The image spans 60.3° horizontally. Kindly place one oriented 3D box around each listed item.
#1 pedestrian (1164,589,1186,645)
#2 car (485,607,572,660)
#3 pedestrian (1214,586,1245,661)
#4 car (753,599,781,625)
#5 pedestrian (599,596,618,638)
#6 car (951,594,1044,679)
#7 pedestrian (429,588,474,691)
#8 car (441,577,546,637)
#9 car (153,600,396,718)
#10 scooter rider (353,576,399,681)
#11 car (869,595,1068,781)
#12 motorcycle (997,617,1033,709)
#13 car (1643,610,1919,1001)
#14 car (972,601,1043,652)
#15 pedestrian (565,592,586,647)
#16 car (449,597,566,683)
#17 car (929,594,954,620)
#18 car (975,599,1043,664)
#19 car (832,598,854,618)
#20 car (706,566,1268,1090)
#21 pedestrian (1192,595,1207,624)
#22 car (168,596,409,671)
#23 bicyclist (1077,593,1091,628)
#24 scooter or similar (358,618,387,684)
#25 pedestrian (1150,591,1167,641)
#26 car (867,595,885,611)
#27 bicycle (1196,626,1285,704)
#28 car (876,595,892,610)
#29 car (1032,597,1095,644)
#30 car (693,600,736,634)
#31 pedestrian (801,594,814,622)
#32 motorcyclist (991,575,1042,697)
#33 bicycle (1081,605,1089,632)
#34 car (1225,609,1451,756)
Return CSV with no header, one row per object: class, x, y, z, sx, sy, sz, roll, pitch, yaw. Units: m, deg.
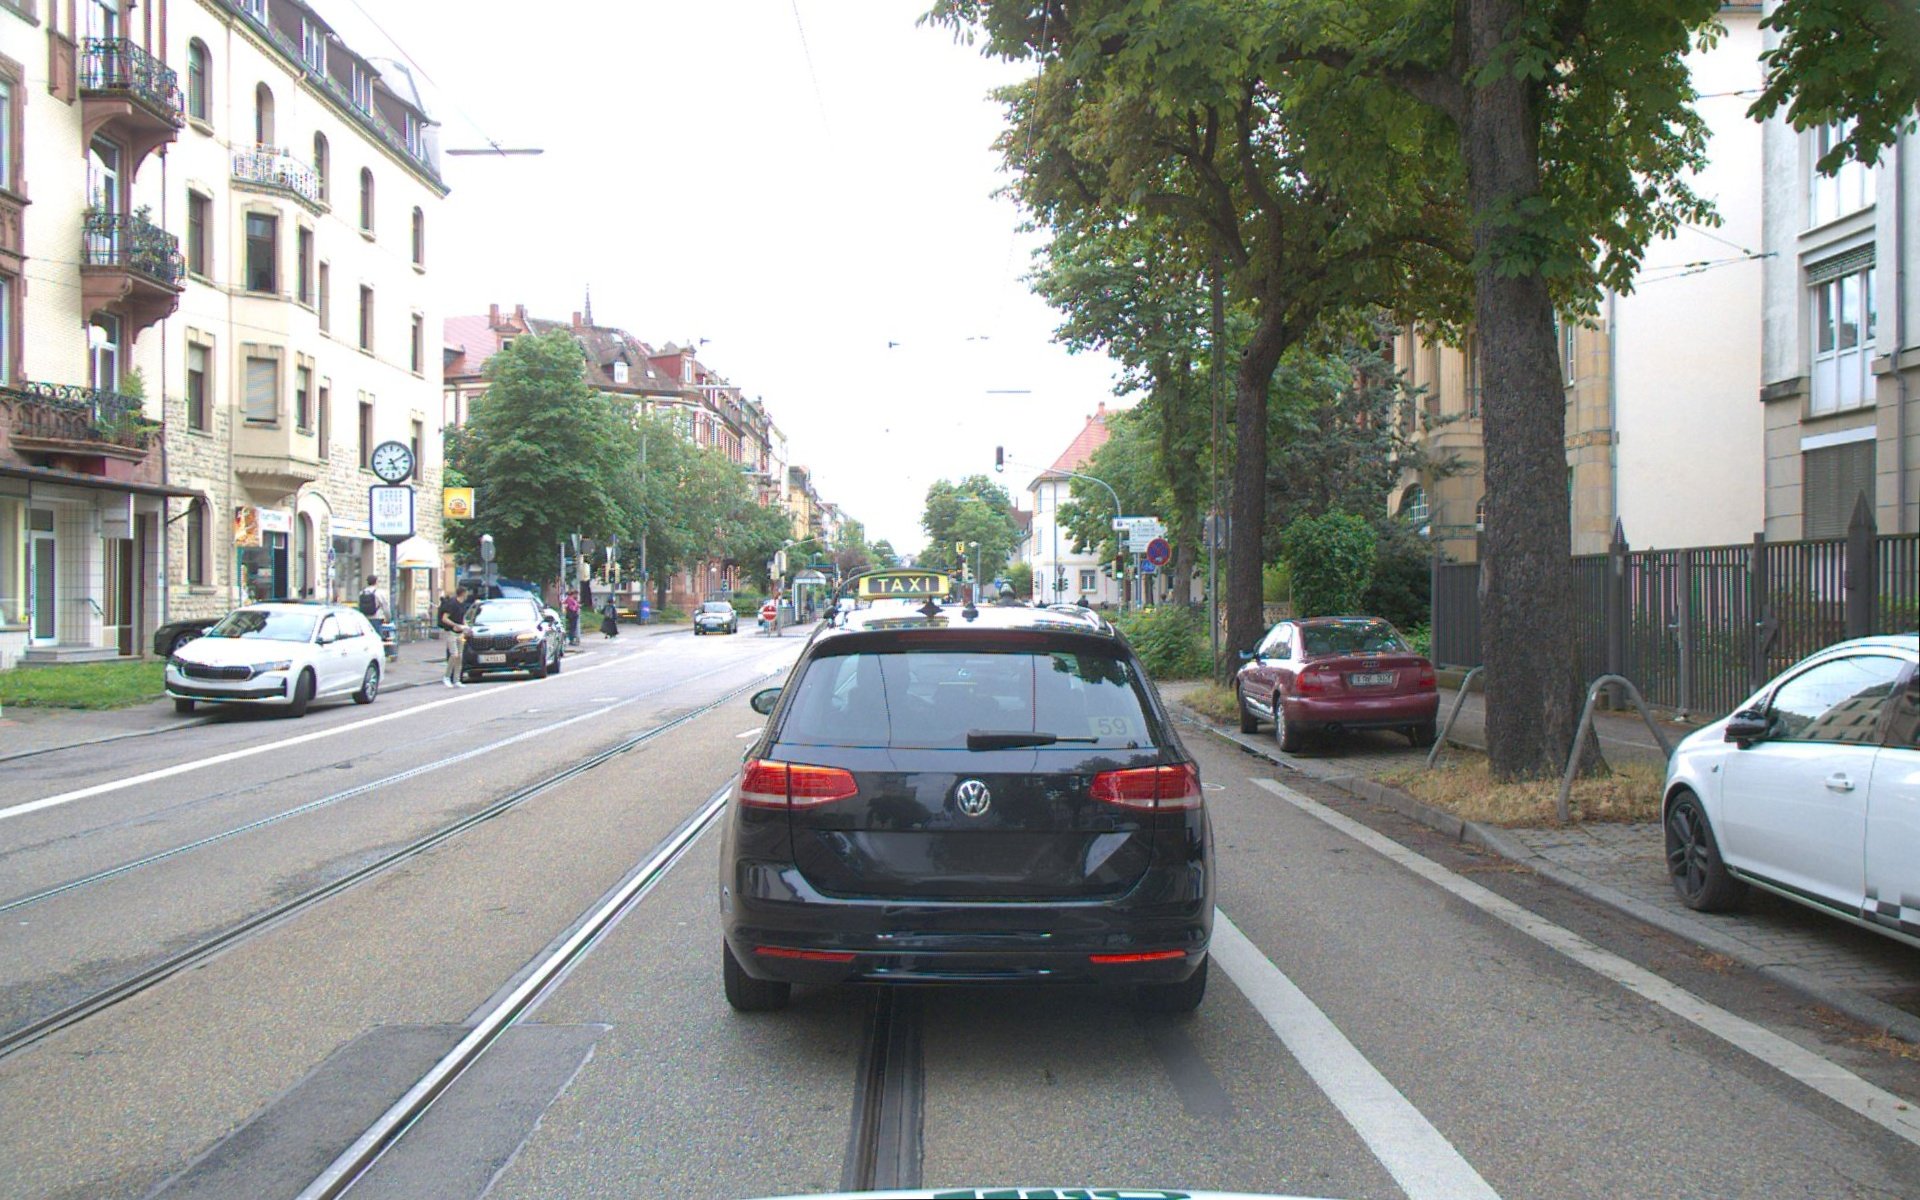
pedestrian,7.301,0.575,56.231,0.573,1.863,0.604,-3,0,1
car,-12.480,0.940,48.062,1.616,1.385,4.127,2,0,-3
pedestrian,6.736,0.583,41.415,0.619,1.846,0.726,0,0,-3
car,-11.749,0.734,100.833,1.666,1.522,3.925,-1,0,-6
pedestrian,-14.181,0.685,66.750,0.577,1.692,0.839,0,0,-2
car,0.680,0.674,32.670,1.688,1.573,3.999,0,0,-1
pedestrian,-9.415,0.719,30.617,0.660,1.876,0.875,-1,0,-26
car,-20.016,0.286,70.865,2.168,2.460,5.295,0,0,-43
car,-9.741,0.771,23.923,1.712,1.510,4.607,-1,0,-2
scooter rider,-11.539,0.556,32.704,0.629,2.049,0.757,0,0,-1
car,0.049,0.742,16.044,1.688,1.573,3.999,0,0,-1
motorcycle,0.785,0.882,23.927,0.437,1.257,1.906,0,0,-1
car,4.540,0.819,7.158,1.569,1.460,3.776,-2,0,0
car,1.470,0.778,49.931,1.852,1.432,4.003,-1,0,5
pedestrian,-13.195,0.654,56.751,0.610,1.875,0.609,0,0,-3
car,-9.637,0.810,35.592,1.849,1.640,4.876,-3,0,-9
car,-1.552,0.564,136.169,1.991,2.049,3.999,1,-1,-1
car,1.220,0.789,42.650,1.574,1.583,3.576,1,-1,-1
car,-10.058,0.644,141.884,1.686,1.651,3.862,-1,0,-1
car,0.059,0.683,6.984,1.688,1.573,3.999,0,0,-1
pedestrian,12.861,0.508,88.777,0.604,1.581,0.575,0,0,-40
car,-14.282,0.708,35.383,4.339,1.394,1.878,2,0,-6
bicyclist,5.724,0.500,76.353,0.637,1.596,0.696,-1,0,6
scooter or similar,-11.583,0.996,32.620,0.226,1.256,0.953,0,0,-1
pedestrian,7.504,0.613,62.551,0.503,1.863,0.418,-3,0,15
car,-8.507,0.285,167.259,1.686,1.651,3.862,-1,0,-1
bicycle,4.542,1.036,26.695,0.426,1.219,1.891,-1,-1,44
car,-8.366,0.247,181.580,1.686,1.651,3.862,-1,0,-1
car,3.681,0.732,59.421,1.953,1.605,3.999,1,-1,-1
car,-11.067,0.755,74.716,1.576,1.447,3.484,-1,0,-4
pedestrian,-8.621,0.462,93.460,0.699,1.547,0.590,0,0,1
motorcyclist,0.817,0.512,23.999,0.688,1.722,0.804,0,0,-1
bicycle,5.780,0.844,76.295,0.291,1.244,1.431,-1,0,6
car,4.256,0.866,19.266,1.569,1.423,4.226,-2,0,-1
